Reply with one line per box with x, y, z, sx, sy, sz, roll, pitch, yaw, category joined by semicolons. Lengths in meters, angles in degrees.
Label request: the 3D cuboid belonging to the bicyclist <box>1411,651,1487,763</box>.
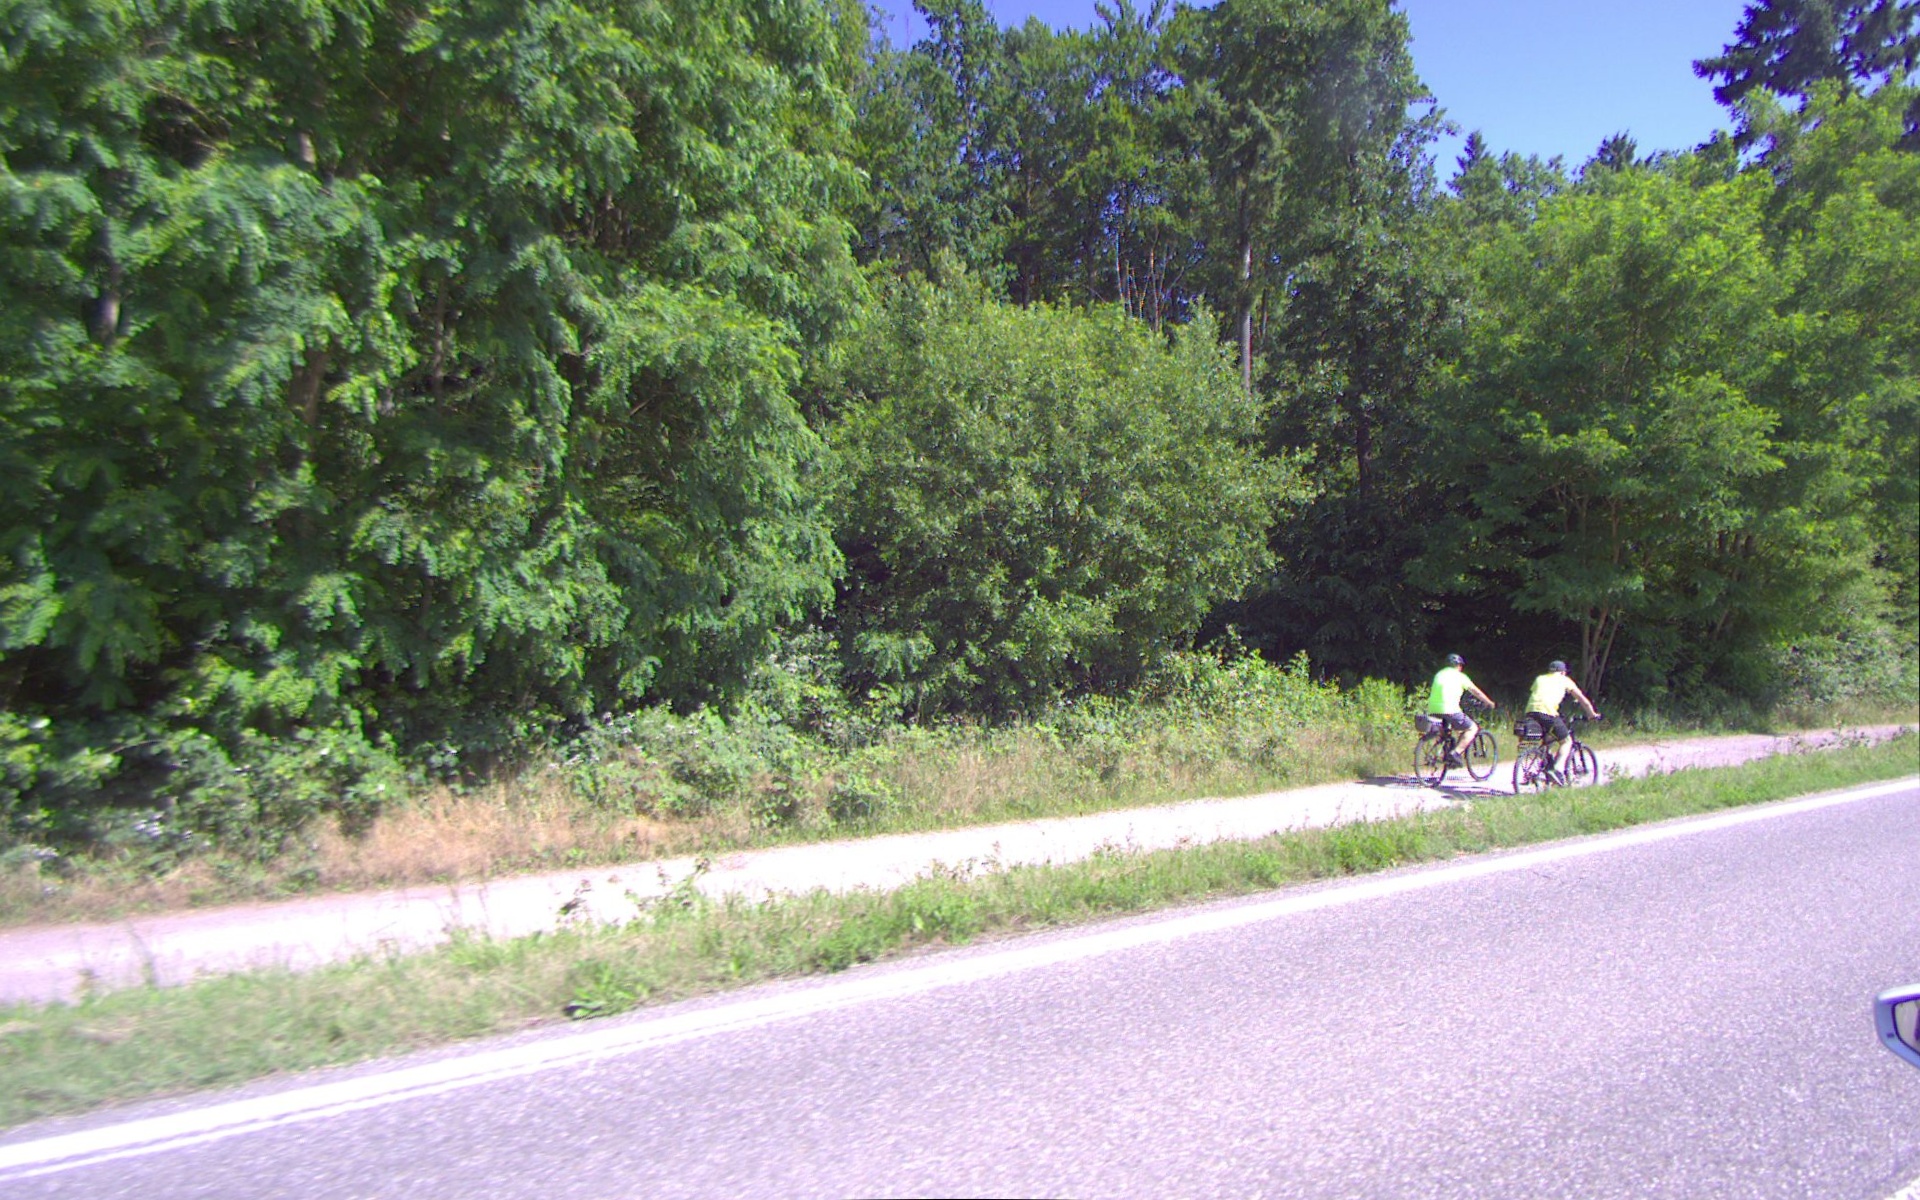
6.617;1.437;13.600;0.694;1.434;0.602;3;-1;-30;bicyclist

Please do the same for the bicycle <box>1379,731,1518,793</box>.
6.656;2.173;13.648;2.112;0.690;0.616;4;-1;-30;bicycle

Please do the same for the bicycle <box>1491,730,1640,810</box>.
7.567;2.090;12.519;2.112;0.798;0.637;1;-4;-31;bicycle

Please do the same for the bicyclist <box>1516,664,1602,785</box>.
7.398;1.516;12.422;0.694;1.433;0.602;1;-4;-30;bicyclist
